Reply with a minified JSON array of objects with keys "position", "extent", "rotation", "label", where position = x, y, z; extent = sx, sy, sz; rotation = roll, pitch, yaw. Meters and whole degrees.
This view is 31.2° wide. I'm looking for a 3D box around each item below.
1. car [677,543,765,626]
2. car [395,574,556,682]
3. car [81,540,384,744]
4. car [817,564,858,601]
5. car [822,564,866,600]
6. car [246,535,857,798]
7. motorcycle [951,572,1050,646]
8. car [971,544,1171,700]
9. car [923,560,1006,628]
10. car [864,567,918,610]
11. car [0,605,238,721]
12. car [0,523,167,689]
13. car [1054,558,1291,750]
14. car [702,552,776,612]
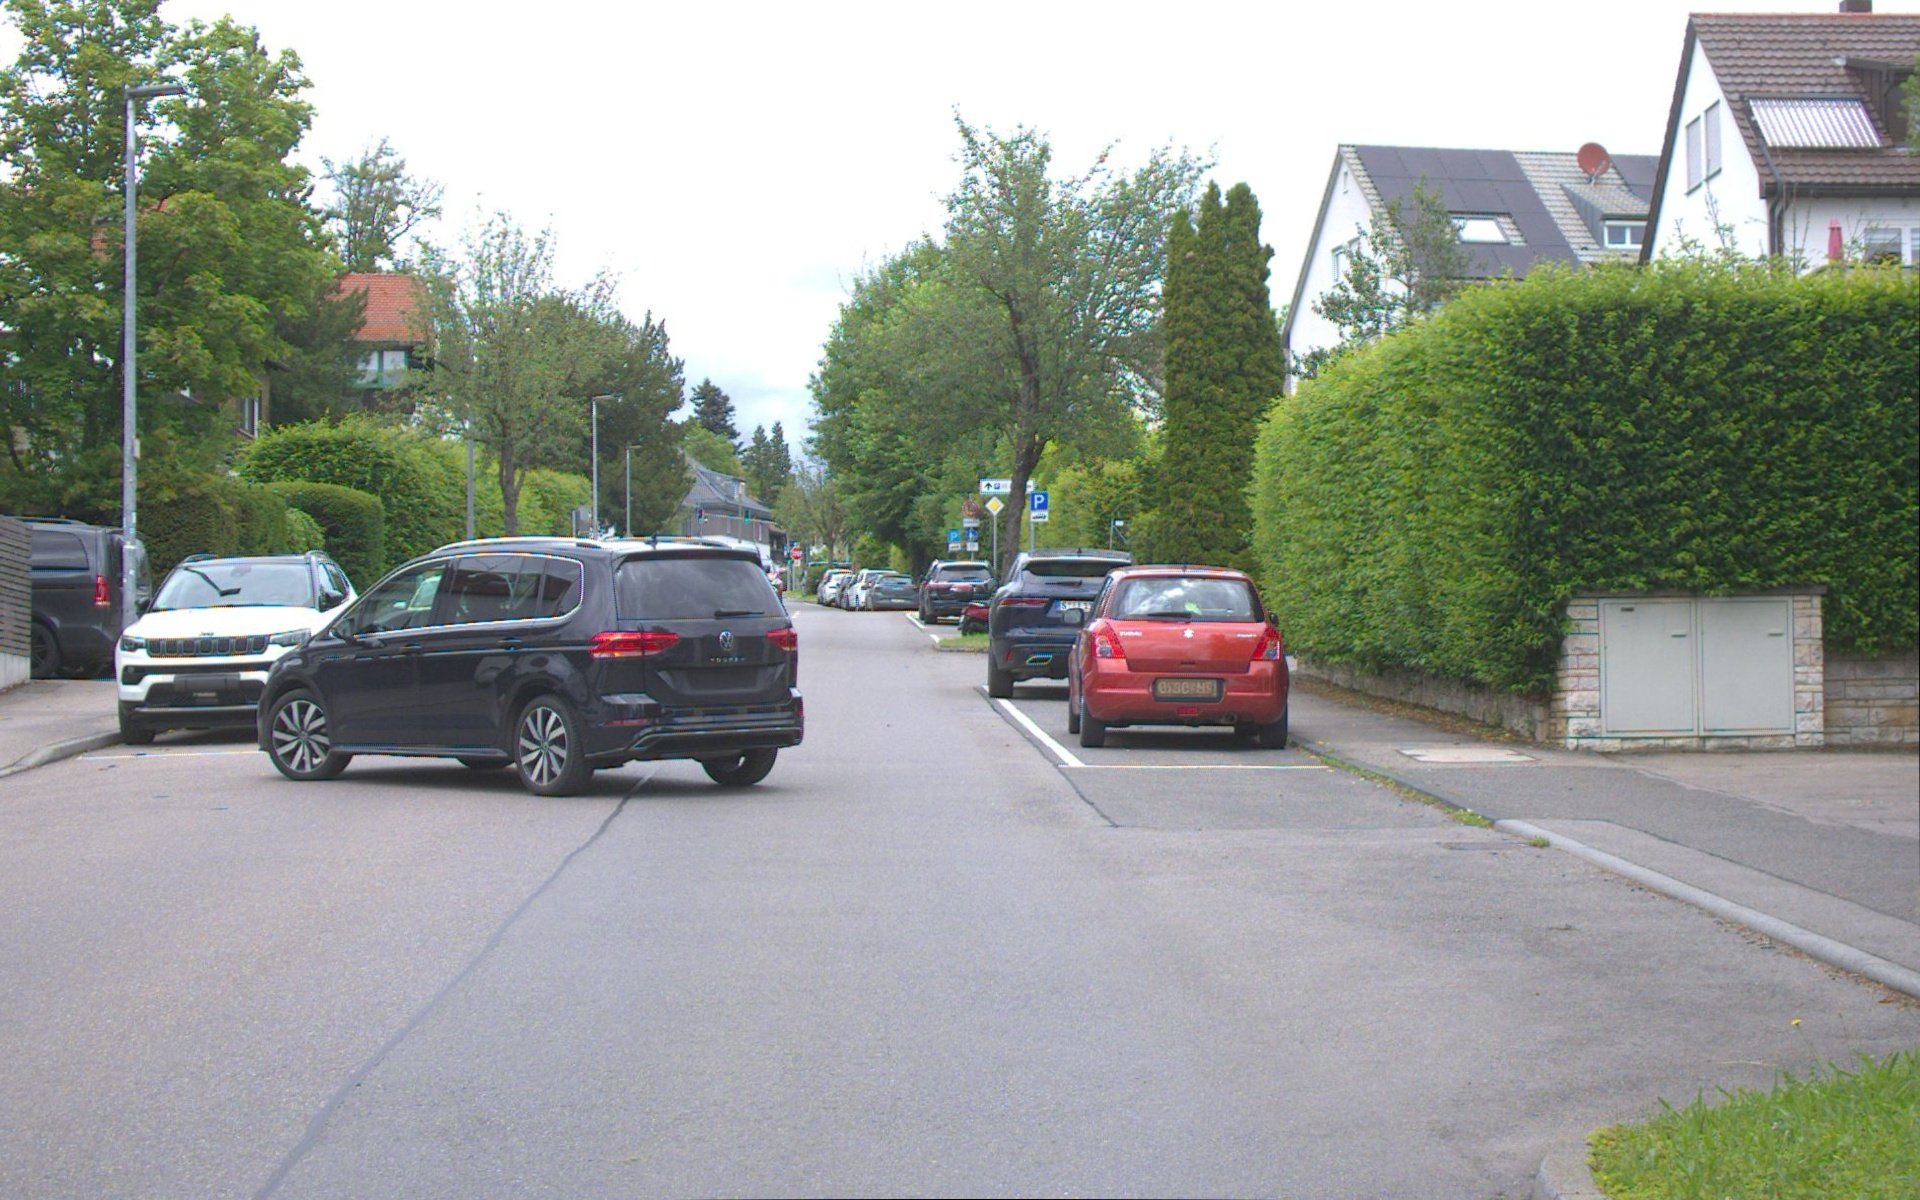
[{"position":[-5.586,-0.375,80.745],"extent":[1.885,1.844,4.402],"rotation":[-1,1,-2],"label":"car"},{"position":[-6.962,0.367,49.764],"extent":[1.837,1.417,4.409],"rotation":[-2,1,-2],"label":"car"},{"position":[-6.508,0.325,31.213],"extent":[1.837,1.660,4.408],"rotation":[-2,1,-1],"label":"car"},{"position":[-5.590,-0.807,156.517],"extent":[1.664,1.662,3.468],"rotation":[0,1,-6],"label":"car"},{"position":[-5.047,-0.796,149.303],"extent":[1.664,1.495,3.468],"rotation":[0,1,-6],"label":"car"},{"position":[-2.832,0.396,23.165],"extent":[1.849,1.606,4.308],"rotation":[0,0,-44],"label":"car"},{"position":[0.763,0.156,63.950],"extent":[1.863,1.342,0.599],"rotation":[-1,1,-37],"label":"motorcycle"},{"position":[1.193,0.224,39.069],"extent":[1.993,1.612,4.513],"rotation":[2,0,-1],"label":"car"},{"position":[0.081,-0.159,81.484],"extent":[1.882,1.528,4.475],"rotation":[1,1,-1],"label":"car"},{"position":[-2.504,-0.422,124.668],"extent":[1.664,1.495,3.468],"rotation":[0,1,-6],"label":"car"},{"position":[-11.705,0.809,45.137],"extent":[3.989,1.440,1.778],"rotation":[0,0,11],"label":"car"},{"position":[-11.902,0.092,41.555],"extent":[4.073,1.943,1.999],"rotation":[0,-1,7],"label":"car"},{"position":[1.737,0.404,29.117],"extent":[1.661,1.503,3.759],"rotation":[0,1,-2],"label":"car"},{"position":[-6.423,-0.543,100.202],"extent":[1.941,1.641,4.258],"rotation":[-2,1,-2],"label":"car"}]
